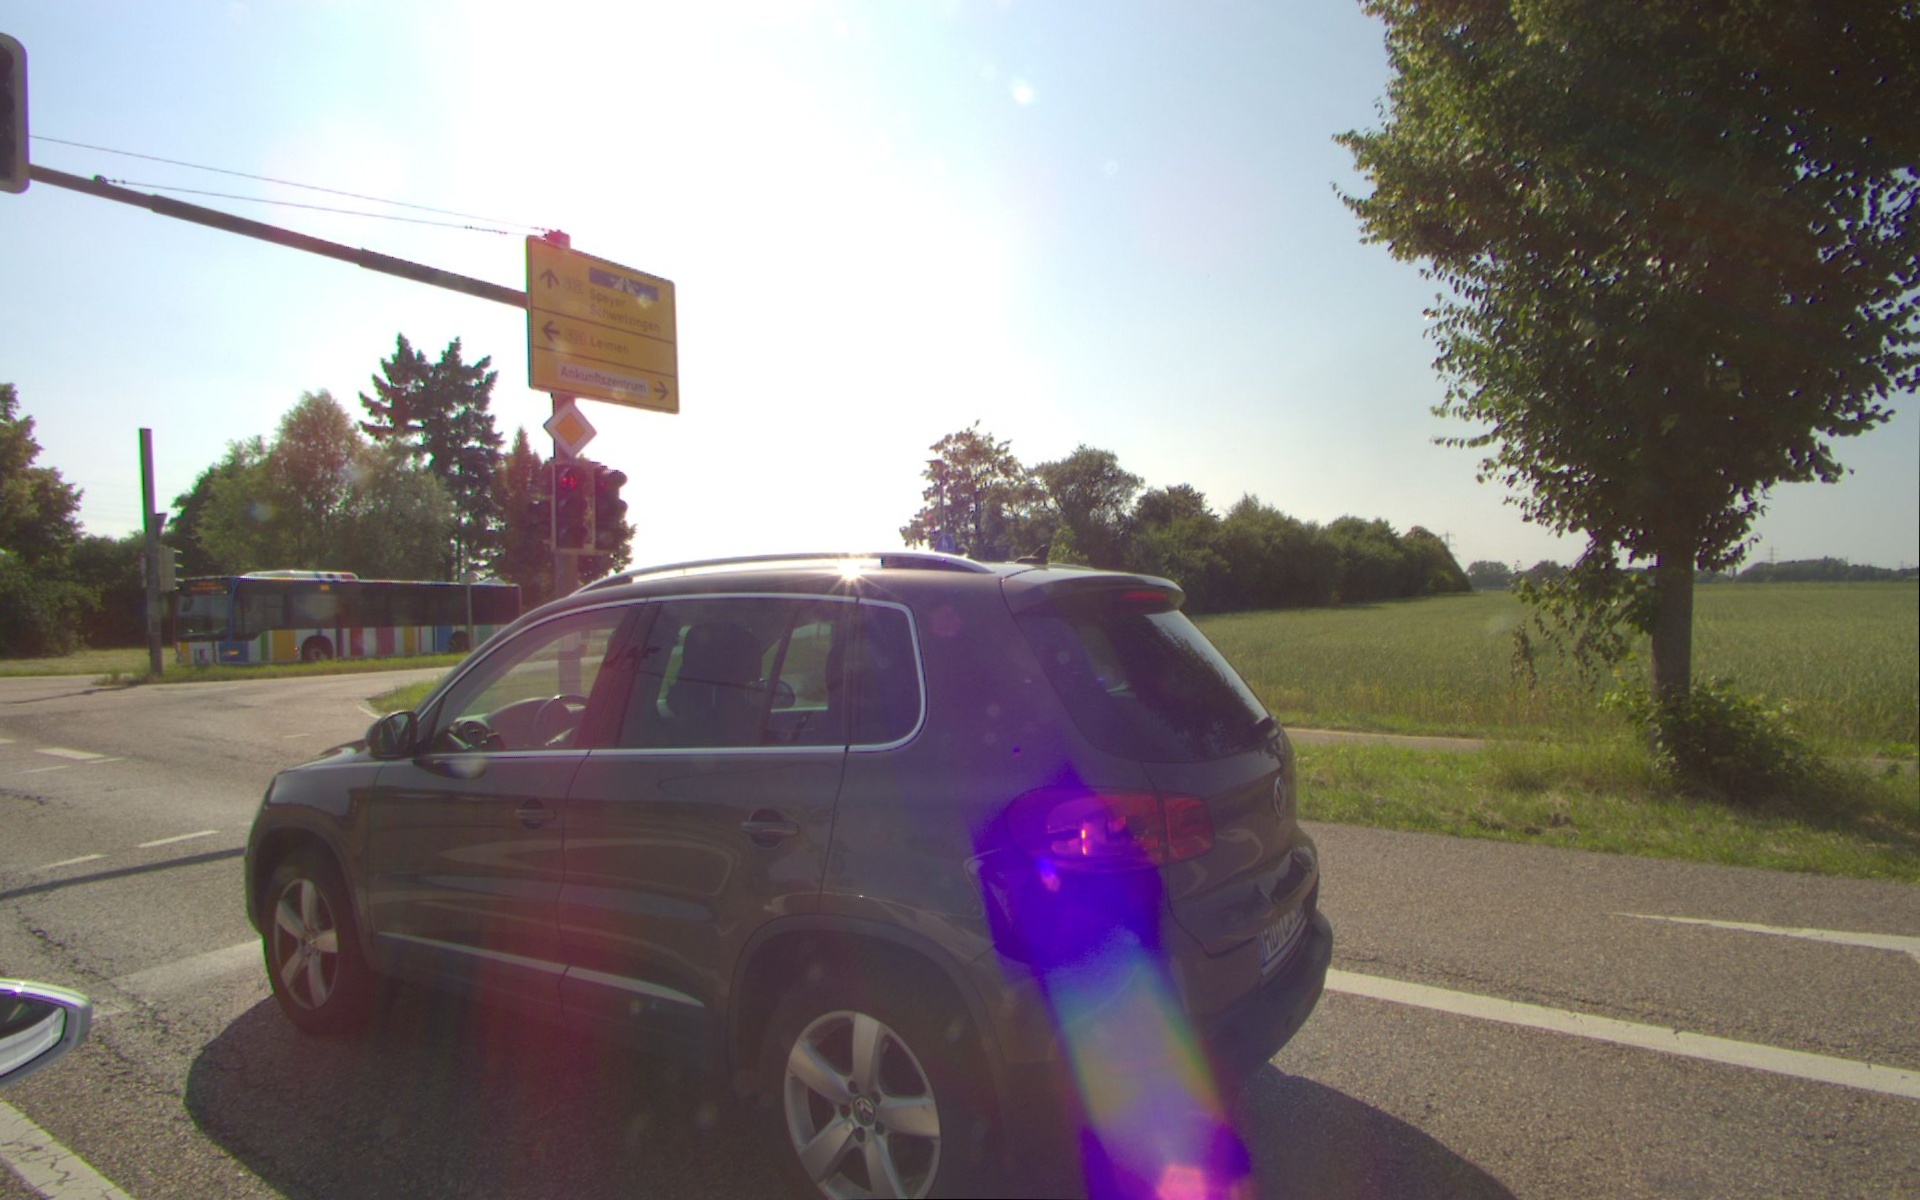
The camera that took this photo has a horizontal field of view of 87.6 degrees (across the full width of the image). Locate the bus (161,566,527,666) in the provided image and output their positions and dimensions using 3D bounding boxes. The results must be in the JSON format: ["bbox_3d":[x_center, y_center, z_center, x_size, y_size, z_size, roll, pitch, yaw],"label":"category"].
[{"bbox_3d":[-20.678,0.418,35.178,2.889,2.916,11.955,-1,0,17],"label":"bus"}]

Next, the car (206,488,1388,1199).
[{"bbox_3d":[-0.781,0.691,3.622,4.086,1.677,1.753,-1,-2,32],"label":"car"}]
